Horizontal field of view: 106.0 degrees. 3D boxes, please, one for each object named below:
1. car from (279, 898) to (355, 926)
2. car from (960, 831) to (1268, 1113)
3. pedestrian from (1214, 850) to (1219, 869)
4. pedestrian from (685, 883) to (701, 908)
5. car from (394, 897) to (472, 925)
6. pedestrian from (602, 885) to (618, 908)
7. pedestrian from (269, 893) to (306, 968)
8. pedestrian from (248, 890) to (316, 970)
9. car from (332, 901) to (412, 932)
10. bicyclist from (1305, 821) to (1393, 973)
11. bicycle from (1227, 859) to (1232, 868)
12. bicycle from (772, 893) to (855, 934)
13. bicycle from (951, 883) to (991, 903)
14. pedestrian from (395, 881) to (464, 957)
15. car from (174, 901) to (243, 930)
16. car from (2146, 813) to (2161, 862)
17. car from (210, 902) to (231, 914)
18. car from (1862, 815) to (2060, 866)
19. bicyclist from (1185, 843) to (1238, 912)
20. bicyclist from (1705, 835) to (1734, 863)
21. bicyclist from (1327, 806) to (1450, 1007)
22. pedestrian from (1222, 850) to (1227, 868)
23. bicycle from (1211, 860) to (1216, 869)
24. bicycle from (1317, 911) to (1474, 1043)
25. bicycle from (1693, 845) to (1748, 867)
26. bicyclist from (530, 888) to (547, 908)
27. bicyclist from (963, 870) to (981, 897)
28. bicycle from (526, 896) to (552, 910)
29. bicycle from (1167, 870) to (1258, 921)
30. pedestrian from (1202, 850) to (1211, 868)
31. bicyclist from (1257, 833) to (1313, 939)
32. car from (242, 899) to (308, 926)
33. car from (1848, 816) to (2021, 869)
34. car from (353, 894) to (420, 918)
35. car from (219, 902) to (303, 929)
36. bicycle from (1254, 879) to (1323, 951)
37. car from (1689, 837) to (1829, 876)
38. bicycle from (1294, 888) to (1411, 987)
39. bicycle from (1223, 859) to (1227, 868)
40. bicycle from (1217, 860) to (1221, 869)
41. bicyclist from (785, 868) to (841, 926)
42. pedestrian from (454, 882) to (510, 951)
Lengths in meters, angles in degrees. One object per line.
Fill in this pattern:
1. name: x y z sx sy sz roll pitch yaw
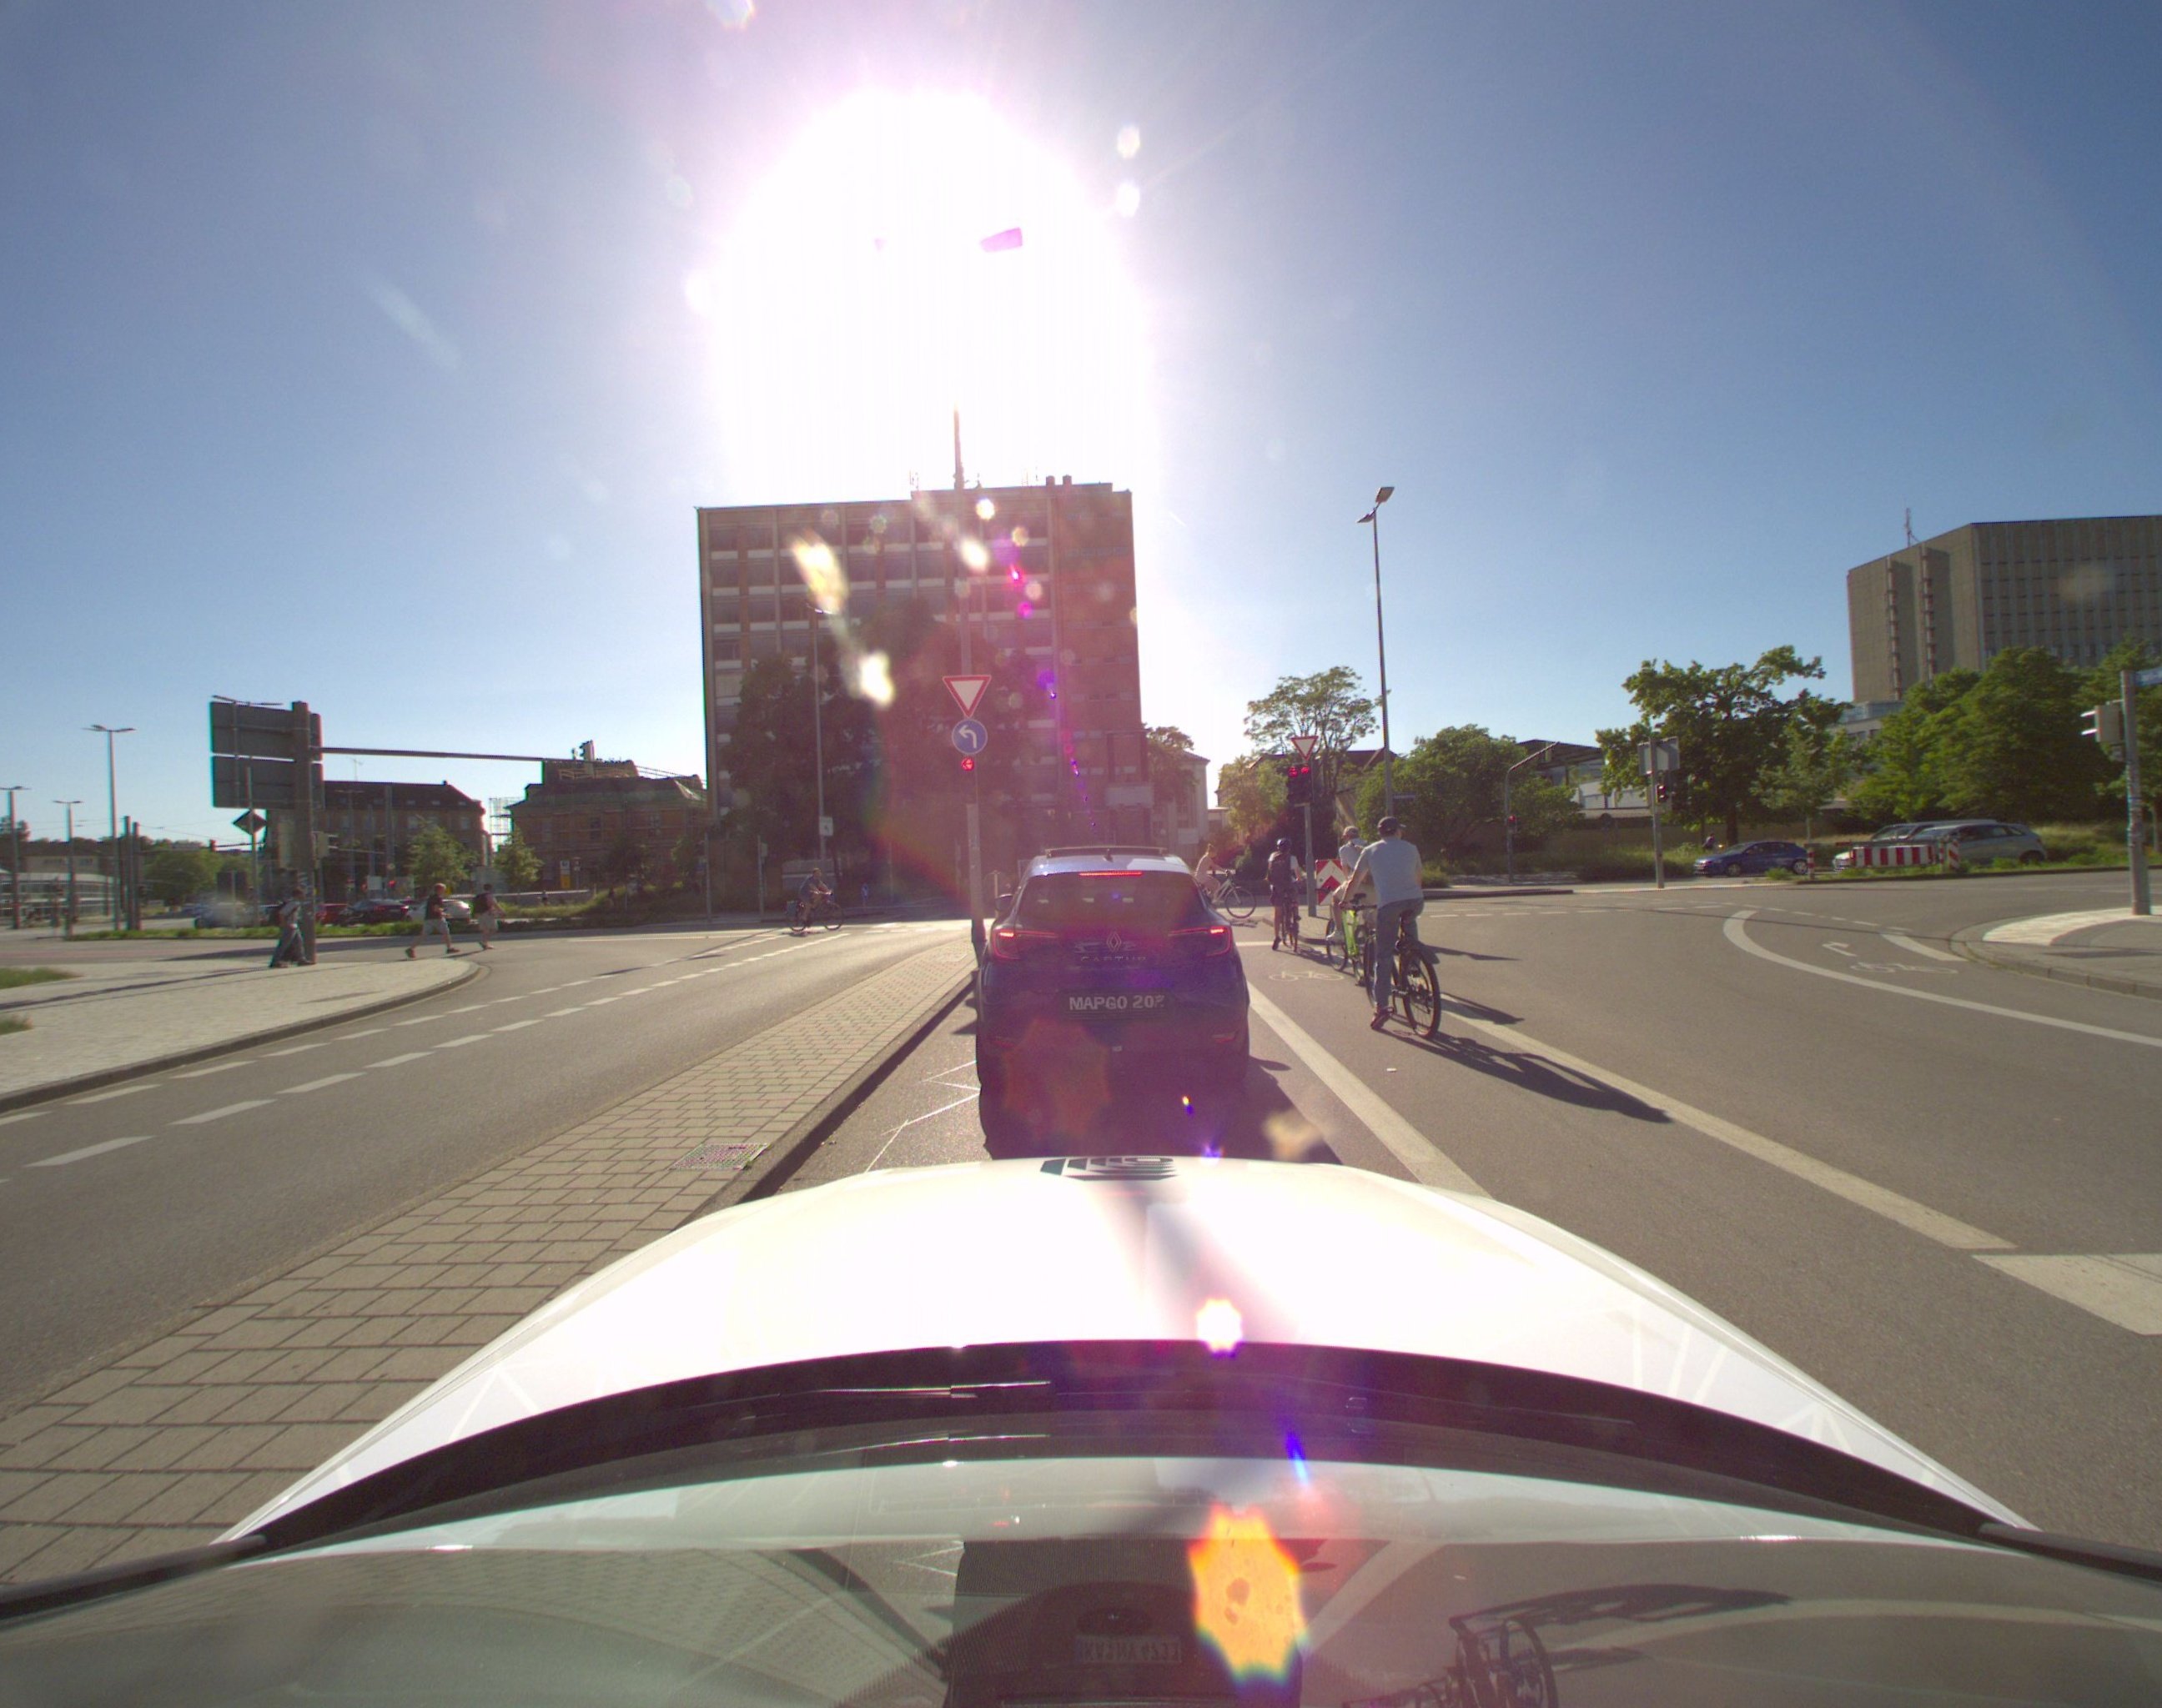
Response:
1. car: -48.457 3.683 51.654 4.334 1.632 1.854 -3 -1 23
2. car: 0.205 0.707 6.809 1.798 1.632 3.999 -1 0 0
3. pedestrian: 15.103 0.598 90.863 0.473 2.014 0.524 -2 -1 8
4. pedestrian: -26.443 2.826 55.528 0.730 1.603 0.602 -3 -1 24
5. car: -36.538 3.204 45.918 3.803 1.435 1.752 -2 -1 21
6. pedestrian: -34.317 3.088 59.310 0.852 1.571 0.562 -3 -1 26
7. pedestrian: -19.081 1.810 19.579 0.600 1.729 0.572 -2 -1 -45
8. pedestrian: -17.967 1.692 18.334 0.908 1.690 0.831 -2 -4 -32
9. car: -42.568 3.768 48.903 4.334 1.632 1.854 -3 -1 23
10. bicyclist: 3.216 0.493 9.856 0.644 1.739 1.065 0 -1 -4
11. bicycle: 17.189 1.072 94.179 0.403 0.973 1.686 0 -1 6
12. bicycle: -7.030 1.562 21.434 1.969 0.918 0.690 -4 -1 15
13. bicycle: -5.926 2.111 44.033 2.016 0.964 0.593 -2 -1 -25
14. pedestrian: -16.461 1.621 20.588 0.697 1.800 1.108 -5 -3 20
15. car: -55.160 3.905 51.478 4.331 1.632 1.855 -3 -1 27
16. car: 36.987 -0.624 25.355 4.711 1.584 2.002 -2 -1 4
17. car: -133.881 8.432 126.677 2.012 1.662 3.950 -2 -1 -44
18. car: 28.139 -0.403 26.173 4.025 1.408 1.872 -2 -1 8
19. bicyclist: 3.017 0.529 18.804 1.061 1.500 0.744 -4 -1 13
20. bicyclist: 30.999 -0.261 39.536 0.822 1.316 0.696 -4 1 2
21. bicyclist: 2.714 0.444 7.302 0.748 1.668 1.017 0 -1 3
22. pedestrian: 16.215 0.601 92.189 0.473 2.014 0.469 -2 -1 8
23. bicycle: 15.259 1.228 93.887 0.403 0.973 1.686 0 -1 6
24. bicycle: 2.722 1.026 7.302 0.737 0.896 1.980 0 -1 3
25. bicycle: 31.049 0.086 39.555 2.074 0.930 0.696 -3 1 0
26. bicyclist: -41.167 3.317 61.781 0.928 1.429 0.602 -3 -1 23
27. bicyclist: -5.888 1.595 44.060 0.741 1.441 0.593 -2 -1 -25
28. bicycle: -41.143 3.697 61.780 2.057 0.964 0.602 -3 -1 25
29. bicycle: 3.042 0.953 18.797 1.971 0.995 0.744 -4 -1 12
30. pedestrian: 14.380 0.519 93.222 0.855 2.014 0.469 -2 -1 7
31. bicyclist: 3.239 0.499 12.993 0.722 1.629 0.970 0 -1 6
32. car: -53.814 3.919 54.381 4.331 1.632 1.855 -3 -1 27
33. car: 35.253 -0.442 33.766 4.856 2.107 2.002 0 -1 4
34. car: -50.948 3.830 59.740 4.779 1.632 1.855 -2 -1 25
35. car: -49.012 3.676 48.668 4.841 1.388 1.854 -3 -1 23
36. bicycle: 3.249 0.926 12.940 0.735 0.995 2.177 0 -1 6
37. car: 28.218 0.099 34.014 4.140 1.435 1.747 -2 -1 8
38. bicycle: 3.215 0.954 9.858 0.657 1.003 1.967 0 -1 -4
39. bicycle: 16.655 1.076 94.178 0.403 0.973 1.686 0 -1 6
40. bicycle: 15.877 1.223 93.828 0.403 0.973 1.686 0 -1 6
41. bicyclist: -7.062 1.118 21.448 1.116 1.422 0.690 -4 -1 14
42. pedestrian: -15.485 1.599 21.065 0.785 1.690 0.793 -5 -3 20
